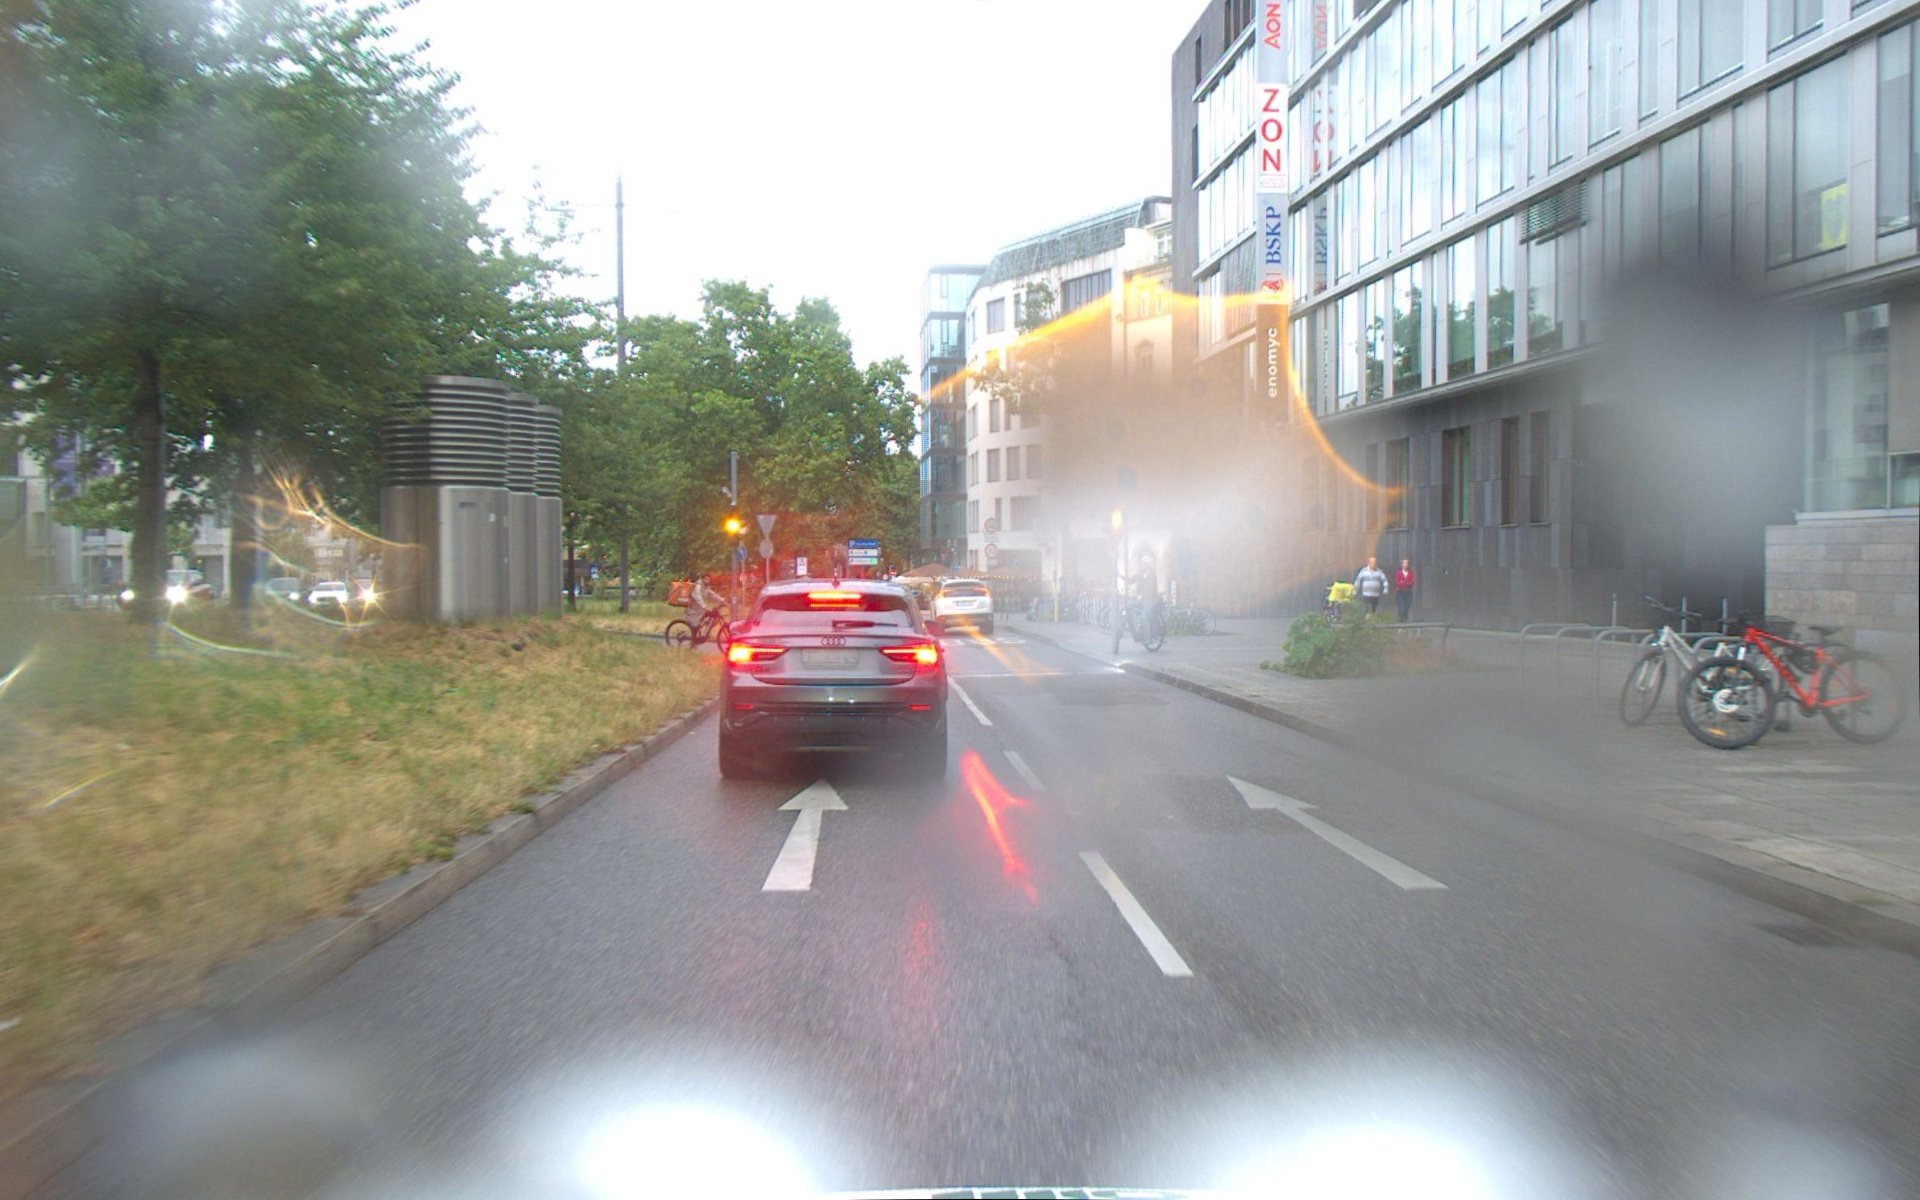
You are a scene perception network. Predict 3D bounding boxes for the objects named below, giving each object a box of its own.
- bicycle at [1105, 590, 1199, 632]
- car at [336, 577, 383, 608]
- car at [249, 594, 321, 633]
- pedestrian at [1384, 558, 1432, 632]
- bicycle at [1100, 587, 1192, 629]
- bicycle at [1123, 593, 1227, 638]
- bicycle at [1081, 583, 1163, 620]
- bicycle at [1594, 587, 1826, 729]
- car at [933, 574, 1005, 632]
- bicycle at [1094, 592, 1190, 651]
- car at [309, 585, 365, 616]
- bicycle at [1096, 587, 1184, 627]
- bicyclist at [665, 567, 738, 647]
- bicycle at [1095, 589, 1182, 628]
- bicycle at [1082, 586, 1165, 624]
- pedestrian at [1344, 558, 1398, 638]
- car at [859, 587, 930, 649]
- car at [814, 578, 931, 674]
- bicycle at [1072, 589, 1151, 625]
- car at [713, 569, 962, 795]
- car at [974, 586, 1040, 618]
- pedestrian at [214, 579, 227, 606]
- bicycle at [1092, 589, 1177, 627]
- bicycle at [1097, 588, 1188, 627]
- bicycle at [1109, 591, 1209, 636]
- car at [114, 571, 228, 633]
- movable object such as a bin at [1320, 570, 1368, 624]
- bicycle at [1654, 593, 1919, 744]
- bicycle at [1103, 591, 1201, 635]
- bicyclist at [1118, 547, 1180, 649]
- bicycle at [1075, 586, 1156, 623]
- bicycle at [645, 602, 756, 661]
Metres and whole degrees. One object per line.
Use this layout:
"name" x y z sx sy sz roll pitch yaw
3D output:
"bicycle" 5.306 0.307 45.811 2.486 1.106 0.677 -1 0 -5
"car" -35.109 -0.475 96.786 1.693 1.757 4.573 0 1 -9
"car" -27.459 0.514 67.410 1.833 1.501 3.992 0 1 -9
"pedestrian" 10.746 -0.133 39.728 0.704 1.719 1.099 -3 0 -6
"bicycle" 5.242 0.217 46.621 2.486 1.106 0.677 -1 0 -5
"bicycle" 5.391 0.379 41.451 2.486 1.075 0.677 -1 0 -5
"bicycle" 5.102 0.057 52.161 2.486 1.106 0.677 -1 0 -5
"bicycle" 6.869 0.517 15.201 1.798 1.218 0.660 -2 0 3
"car" 0.300 0.064 51.169 2.134 1.730 4.000 0 0 1
"bicycle" 3.849 0.445 34.879 2.112 1.165 0.752 -1 0 -40
"car" -30.737 -0.002 81.672 1.786 1.501 4.184 0 1 -9
"bicycle" 5.260 0.213 48.396 2.486 1.106 0.677 -1 0 -5
"bicyclist" -5.400 0.151 34.566 1.109 1.610 1.015 2 0 18
"bicycle" 5.341 0.250 49.594 2.486 1.106 0.677 -1 0 -5
"bicycle" 5.077 0.159 51.409 2.486 1.106 0.677 -1 0 -5
"pedestrian" 9.813 -0.049 39.490 0.882 1.823 1.045 -3 0 -6
"car" -1.822 0.481 47.420 1.905 1.675 4.244 0 1 -1
"car" -1.735 0.452 32.374 2.119 1.735 4.550 0 1 -4
"bicycle" 4.923 0.213 53.796 2.486 1.106 0.677 -1 0 -5
"car" -0.907 0.558 14.172 1.810 1.644 4.252 0 1 -1
"car" 2.866 0.095 101.617 3.906 1.676 2.000 4 0 -1
"pedestrian" -55.857 -0.582 124.946 0.776 2.049 0.737 1 0 -17
"bicycle" 5.321 0.242 50.572 2.486 1.106 0.677 -1 0 -5
"bicycle" 5.240 0.214 47.487 2.486 1.078 0.677 -1 0 -5
"bicycle" 5.155 0.341 42.926 2.486 1.106 0.677 -1 0 -5
"car" -22.812 0.038 47.956 1.909 1.730 3.992 0 0 -9
"movable object such as a bin" 9.475 -0.076 40.877 0.717 1.286 1.443 -3 1 -3
"bicycle" 6.753 0.535 13.346 1.942 1.123 0.808 -2 0 3
"bicycle" 5.072 0.341 43.728 2.486 1.106 0.677 1 0 -5
"bicyclist" 4.002 -0.047 35.027 1.075 2.119 0.752 -1 0 -39
"bicycle" 4.974 0.143 53.049 2.486 1.106 0.677 -1 0 -5
"bicycle" -5.421 0.648 34.557 2.018 1.133 1.012 2 0 19
